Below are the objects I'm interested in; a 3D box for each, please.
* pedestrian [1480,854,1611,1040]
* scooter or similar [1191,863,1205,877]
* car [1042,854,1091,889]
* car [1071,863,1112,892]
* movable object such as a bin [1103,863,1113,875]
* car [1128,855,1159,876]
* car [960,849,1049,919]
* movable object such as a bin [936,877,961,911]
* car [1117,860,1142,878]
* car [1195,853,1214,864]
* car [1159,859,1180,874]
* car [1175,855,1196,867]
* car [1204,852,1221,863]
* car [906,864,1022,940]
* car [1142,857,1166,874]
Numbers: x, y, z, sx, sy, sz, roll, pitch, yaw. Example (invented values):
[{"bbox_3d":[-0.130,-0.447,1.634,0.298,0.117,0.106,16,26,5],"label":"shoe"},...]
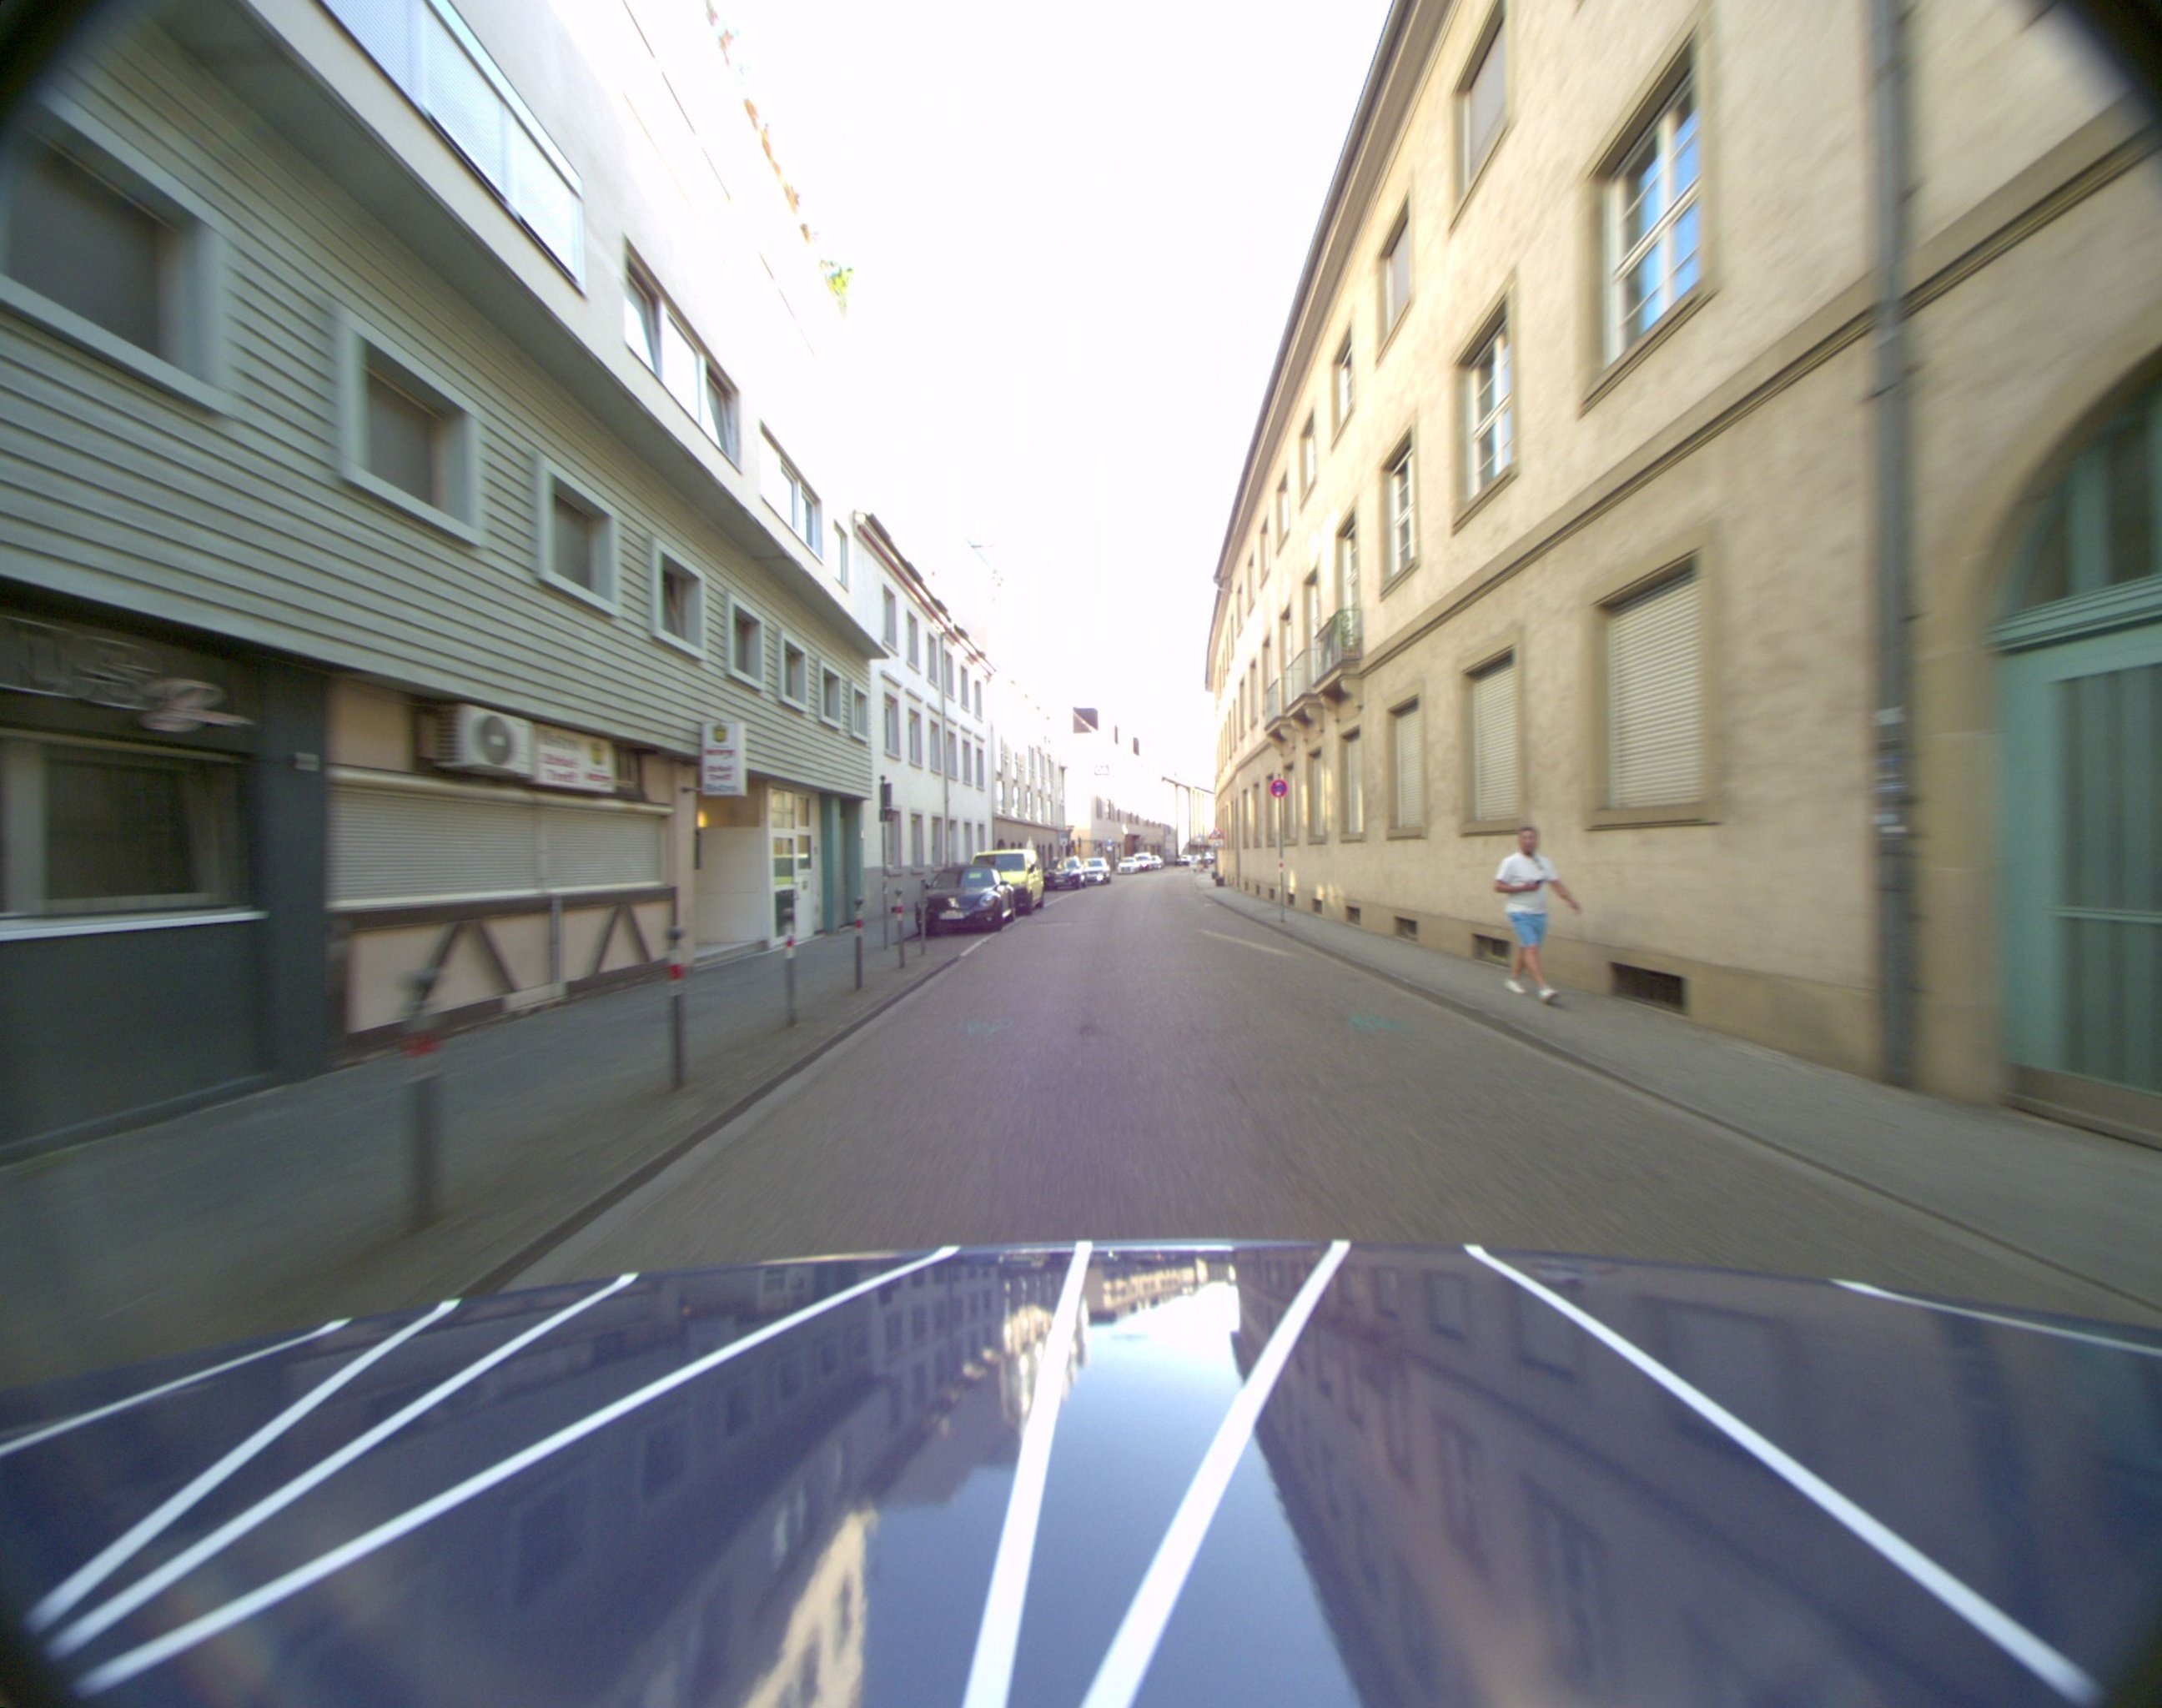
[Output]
[{"bbox_3d":[4.463,0.850,7.361,0.694,1.660,0.875,-3,1,3],"label":"pedestrian"},{"bbox_3d":[10.770,1.456,69.876,1.302,1.217,0.467,1,0,-41],"label":"scooter or similar"},{"bbox_3d":[-0.689,0.852,39.469,1.828,1.645,4.496,-2,0,8],"label":"car"},{"bbox_3d":[0.667,1.317,44.340,1.828,1.550,3.989,-2,0,8],"label":"car"},{"bbox_3d":[2.540,1.399,71.390,0.687,1.079,0.930,-2,0,12],"label":"movable object such as a bin"},{"bbox_3d":[6.213,1.141,75.479,1.945,1.850,5.200,-5,-1,16],"label":"car"},{"bbox_3d":[-2.196,0.834,23.129,1.887,1.871,4.847,-2,0,4],"label":"car"},{"bbox_3d":[-4.289,1.285,24.661,0.607,1.045,0.708,4,1,2],"label":"movable object such as a bin"},{"bbox_3d":[4.461,1.387,69.631,1.734,1.539,4.003,-2,0,10],"label":"car"},{"bbox_3d":[18.410,0.695,113.134,1.963,1.527,4.202,-3,0,19],"label":"car"},{"bbox_3d":[10.623,1.520,90.934,1.774,1.574,3.861,-5,-1,17],"label":"car"},{"bbox_3d":[13.905,0.932,101.383,1.963,1.400,4.202,-3,0,19],"label":"car"},{"bbox_3d":[20.829,0.593,120.054,1.963,1.637,4.202,-3,0,19],"label":"car"},{"bbox_3d":[-2.571,1.010,17.718,1.888,1.480,4.368,-2,0,1],"label":"car"},{"bbox_3d":[7.871,1.255,81.667,1.774,1.574,3.861,-5,-1,16],"label":"car"}]
